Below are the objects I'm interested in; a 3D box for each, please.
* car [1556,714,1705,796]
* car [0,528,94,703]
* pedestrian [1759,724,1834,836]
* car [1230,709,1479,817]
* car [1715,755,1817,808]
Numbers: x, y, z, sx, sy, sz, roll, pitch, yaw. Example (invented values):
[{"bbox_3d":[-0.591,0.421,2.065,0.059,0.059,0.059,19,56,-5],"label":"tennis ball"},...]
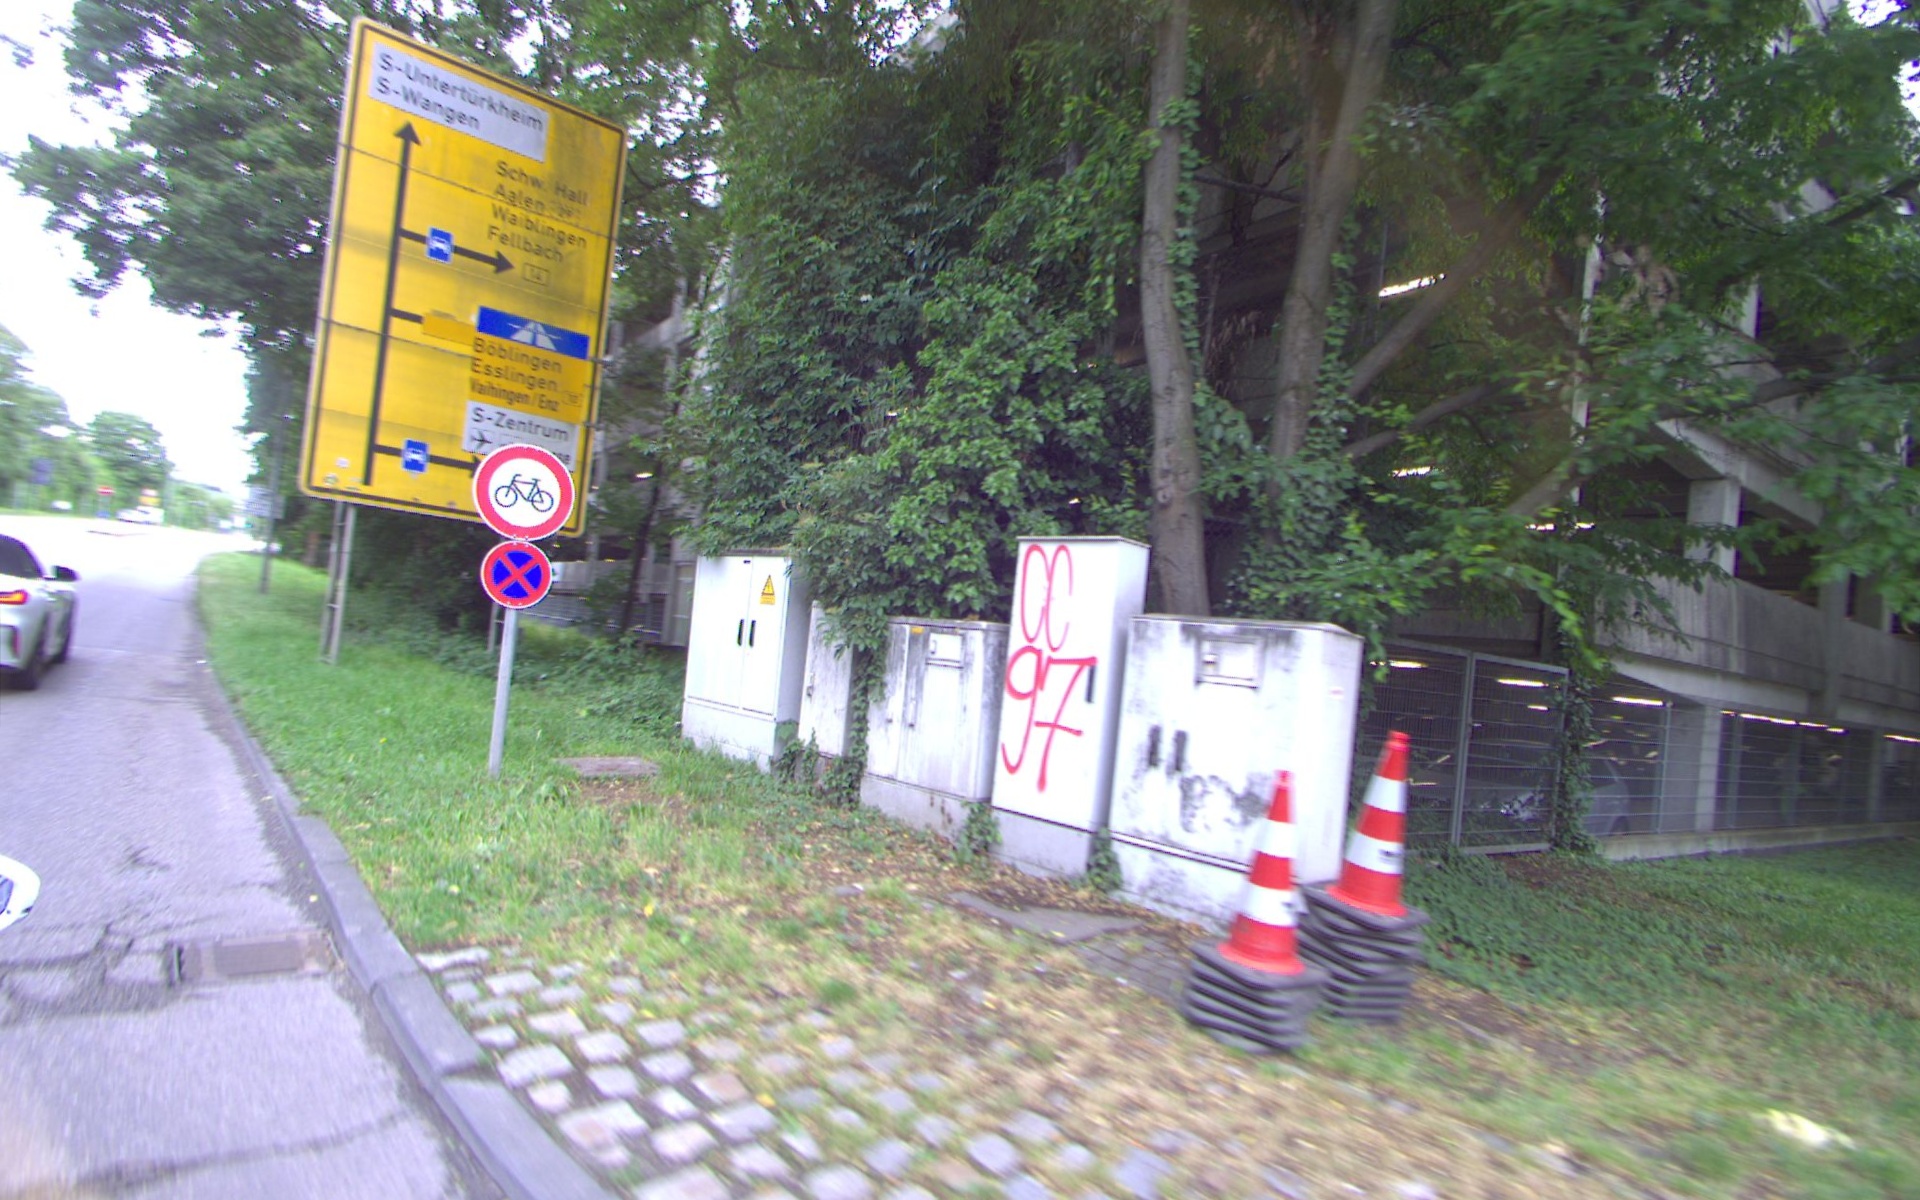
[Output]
[{"bbox_3d":[17.568,4.072,26.316,3.967,1.746,1.982,9,-5,-37],"label":"car"},{"bbox_3d":[-9.136,-0.047,8.927,1.867,1.324,3.834,9,-3,-38],"label":"car"},{"bbox_3d":[13.869,2.971,16.679,0.605,1.722,0.611,6,3,-37],"label":"pedestrian"},{"bbox_3d":[5.877,2.425,14.855,3.608,1.175,1.608,9,-3,-34],"label":"car"},{"bbox_3d":[25.537,5.758,31.842,3.743,1.380,1.509,8,-3,-36],"label":"car"}]
